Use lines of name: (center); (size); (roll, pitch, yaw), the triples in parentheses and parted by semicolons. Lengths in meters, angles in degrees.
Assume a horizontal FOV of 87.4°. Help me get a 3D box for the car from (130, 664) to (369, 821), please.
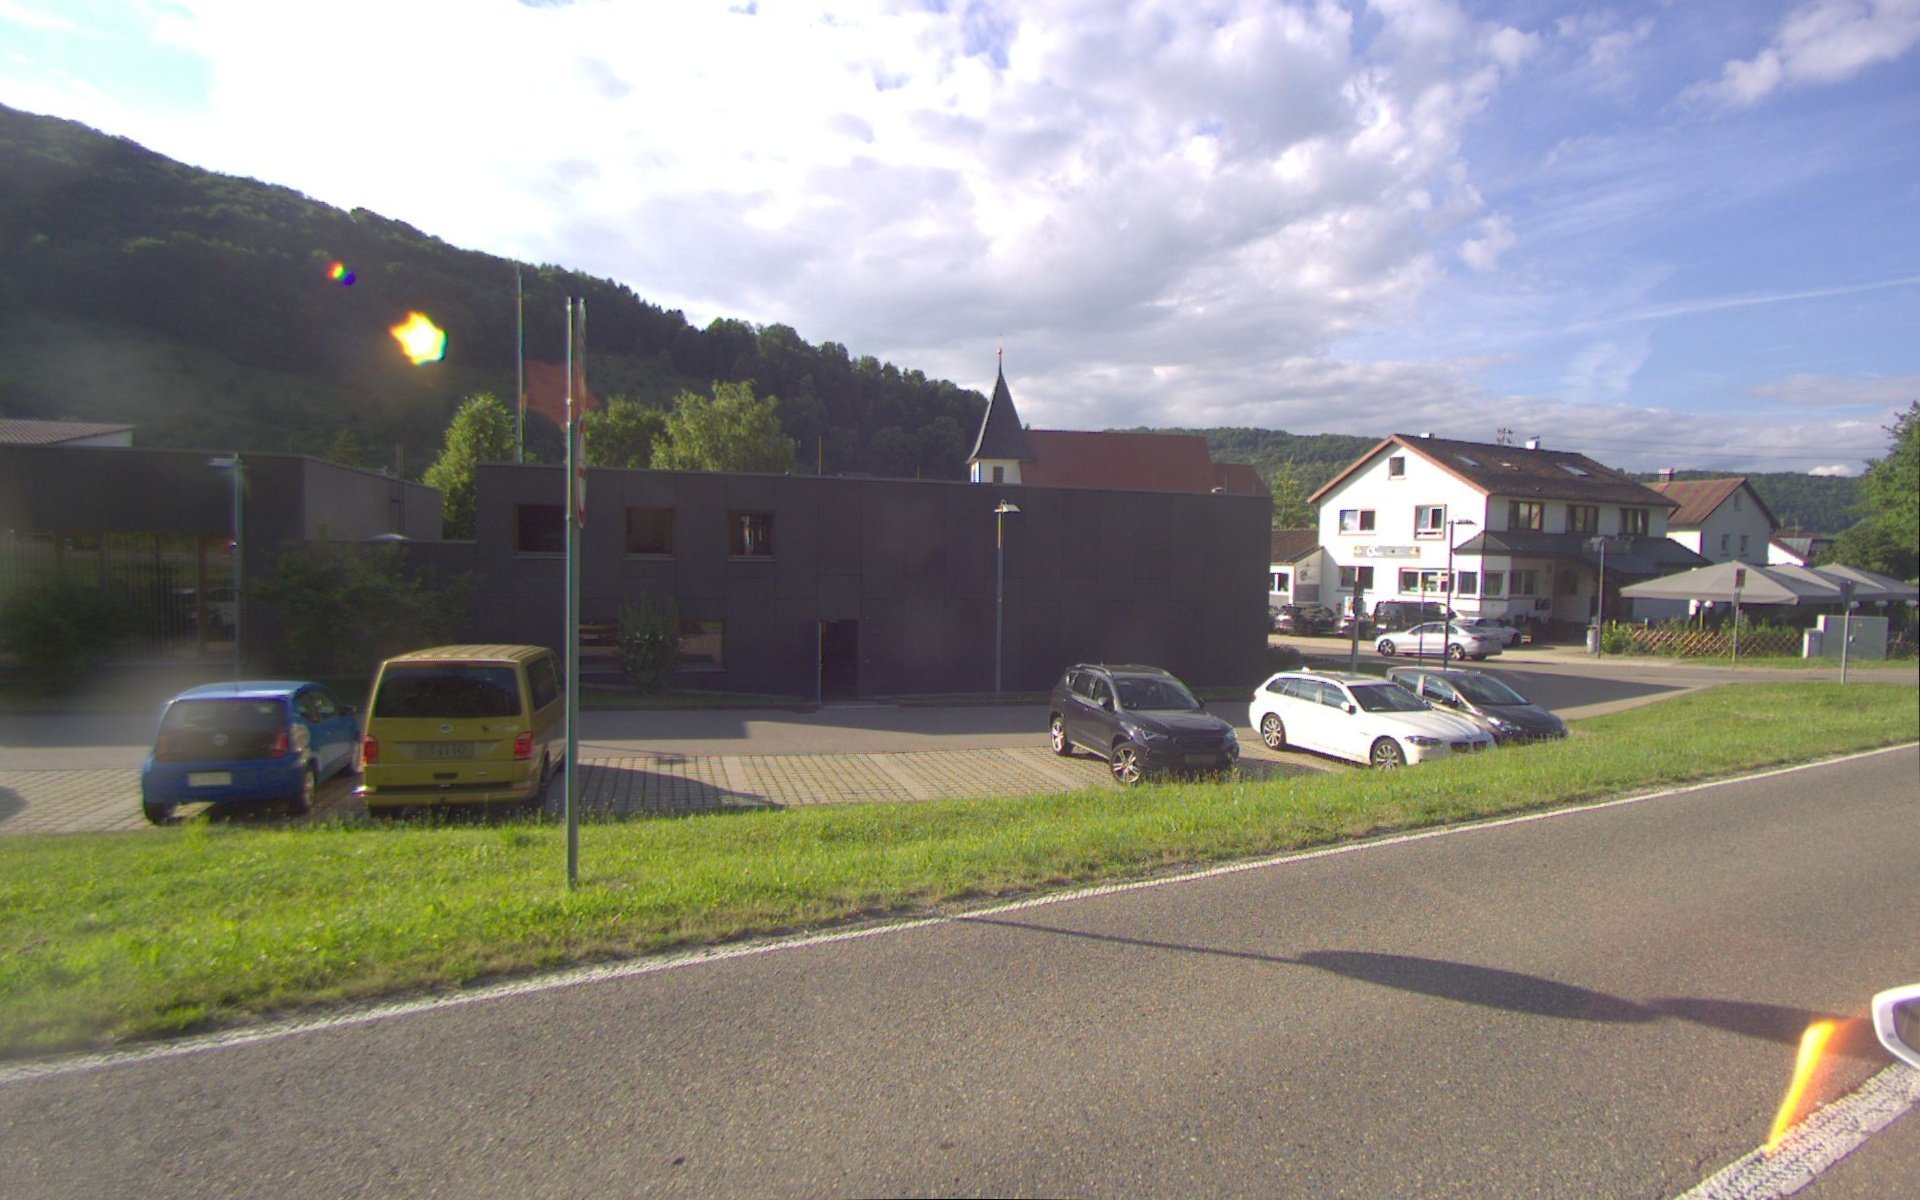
car: (-8.956, 1.695, 12.980); (1.608, 1.492, 3.488); (2, 0, -20)

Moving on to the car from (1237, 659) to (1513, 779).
car: (7.109, 1.979, 17.890); (1.851, 1.513, 4.810); (2, 0, -18)

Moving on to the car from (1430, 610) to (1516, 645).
car: (23.033, 1.241, 45.088); (3.954, 1.469, 1.548); (2, 0, -31)

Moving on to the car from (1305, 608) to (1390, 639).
car: (19.014, 1.174, 49.257); (3.955, 1.372, 1.831); (2, 0, -32)

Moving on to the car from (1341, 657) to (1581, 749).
car: (9.483, 1.902, 19.381); (1.735, 1.327, 3.979); (2, 0, -22)

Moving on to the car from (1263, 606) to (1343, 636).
car: (17.687, 1.079, 51.753); (3.955, 1.372, 1.831); (2, 0, -32)

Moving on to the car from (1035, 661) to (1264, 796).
car: (2.926, 1.969, 16.462); (1.969, 1.659, 4.022); (2, 0, -18)

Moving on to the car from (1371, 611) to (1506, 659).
car: (18.509, 1.319, 39.027); (1.793, 1.661, 4.419); (2, 0, -35)

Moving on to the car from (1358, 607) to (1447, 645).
car: (20.949, 1.230, 47.512); (3.954, 1.684, 1.877); (2, 0, -31)

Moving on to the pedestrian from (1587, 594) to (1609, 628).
pedestrian: (29.047, 0.496, 45.714); (0.583, 1.523, 0.605); (2, 0, -30)

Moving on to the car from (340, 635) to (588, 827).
car: (-6.254, 1.517, 13.285); (1.967, 1.893, 4.611); (2, 0, -15)
